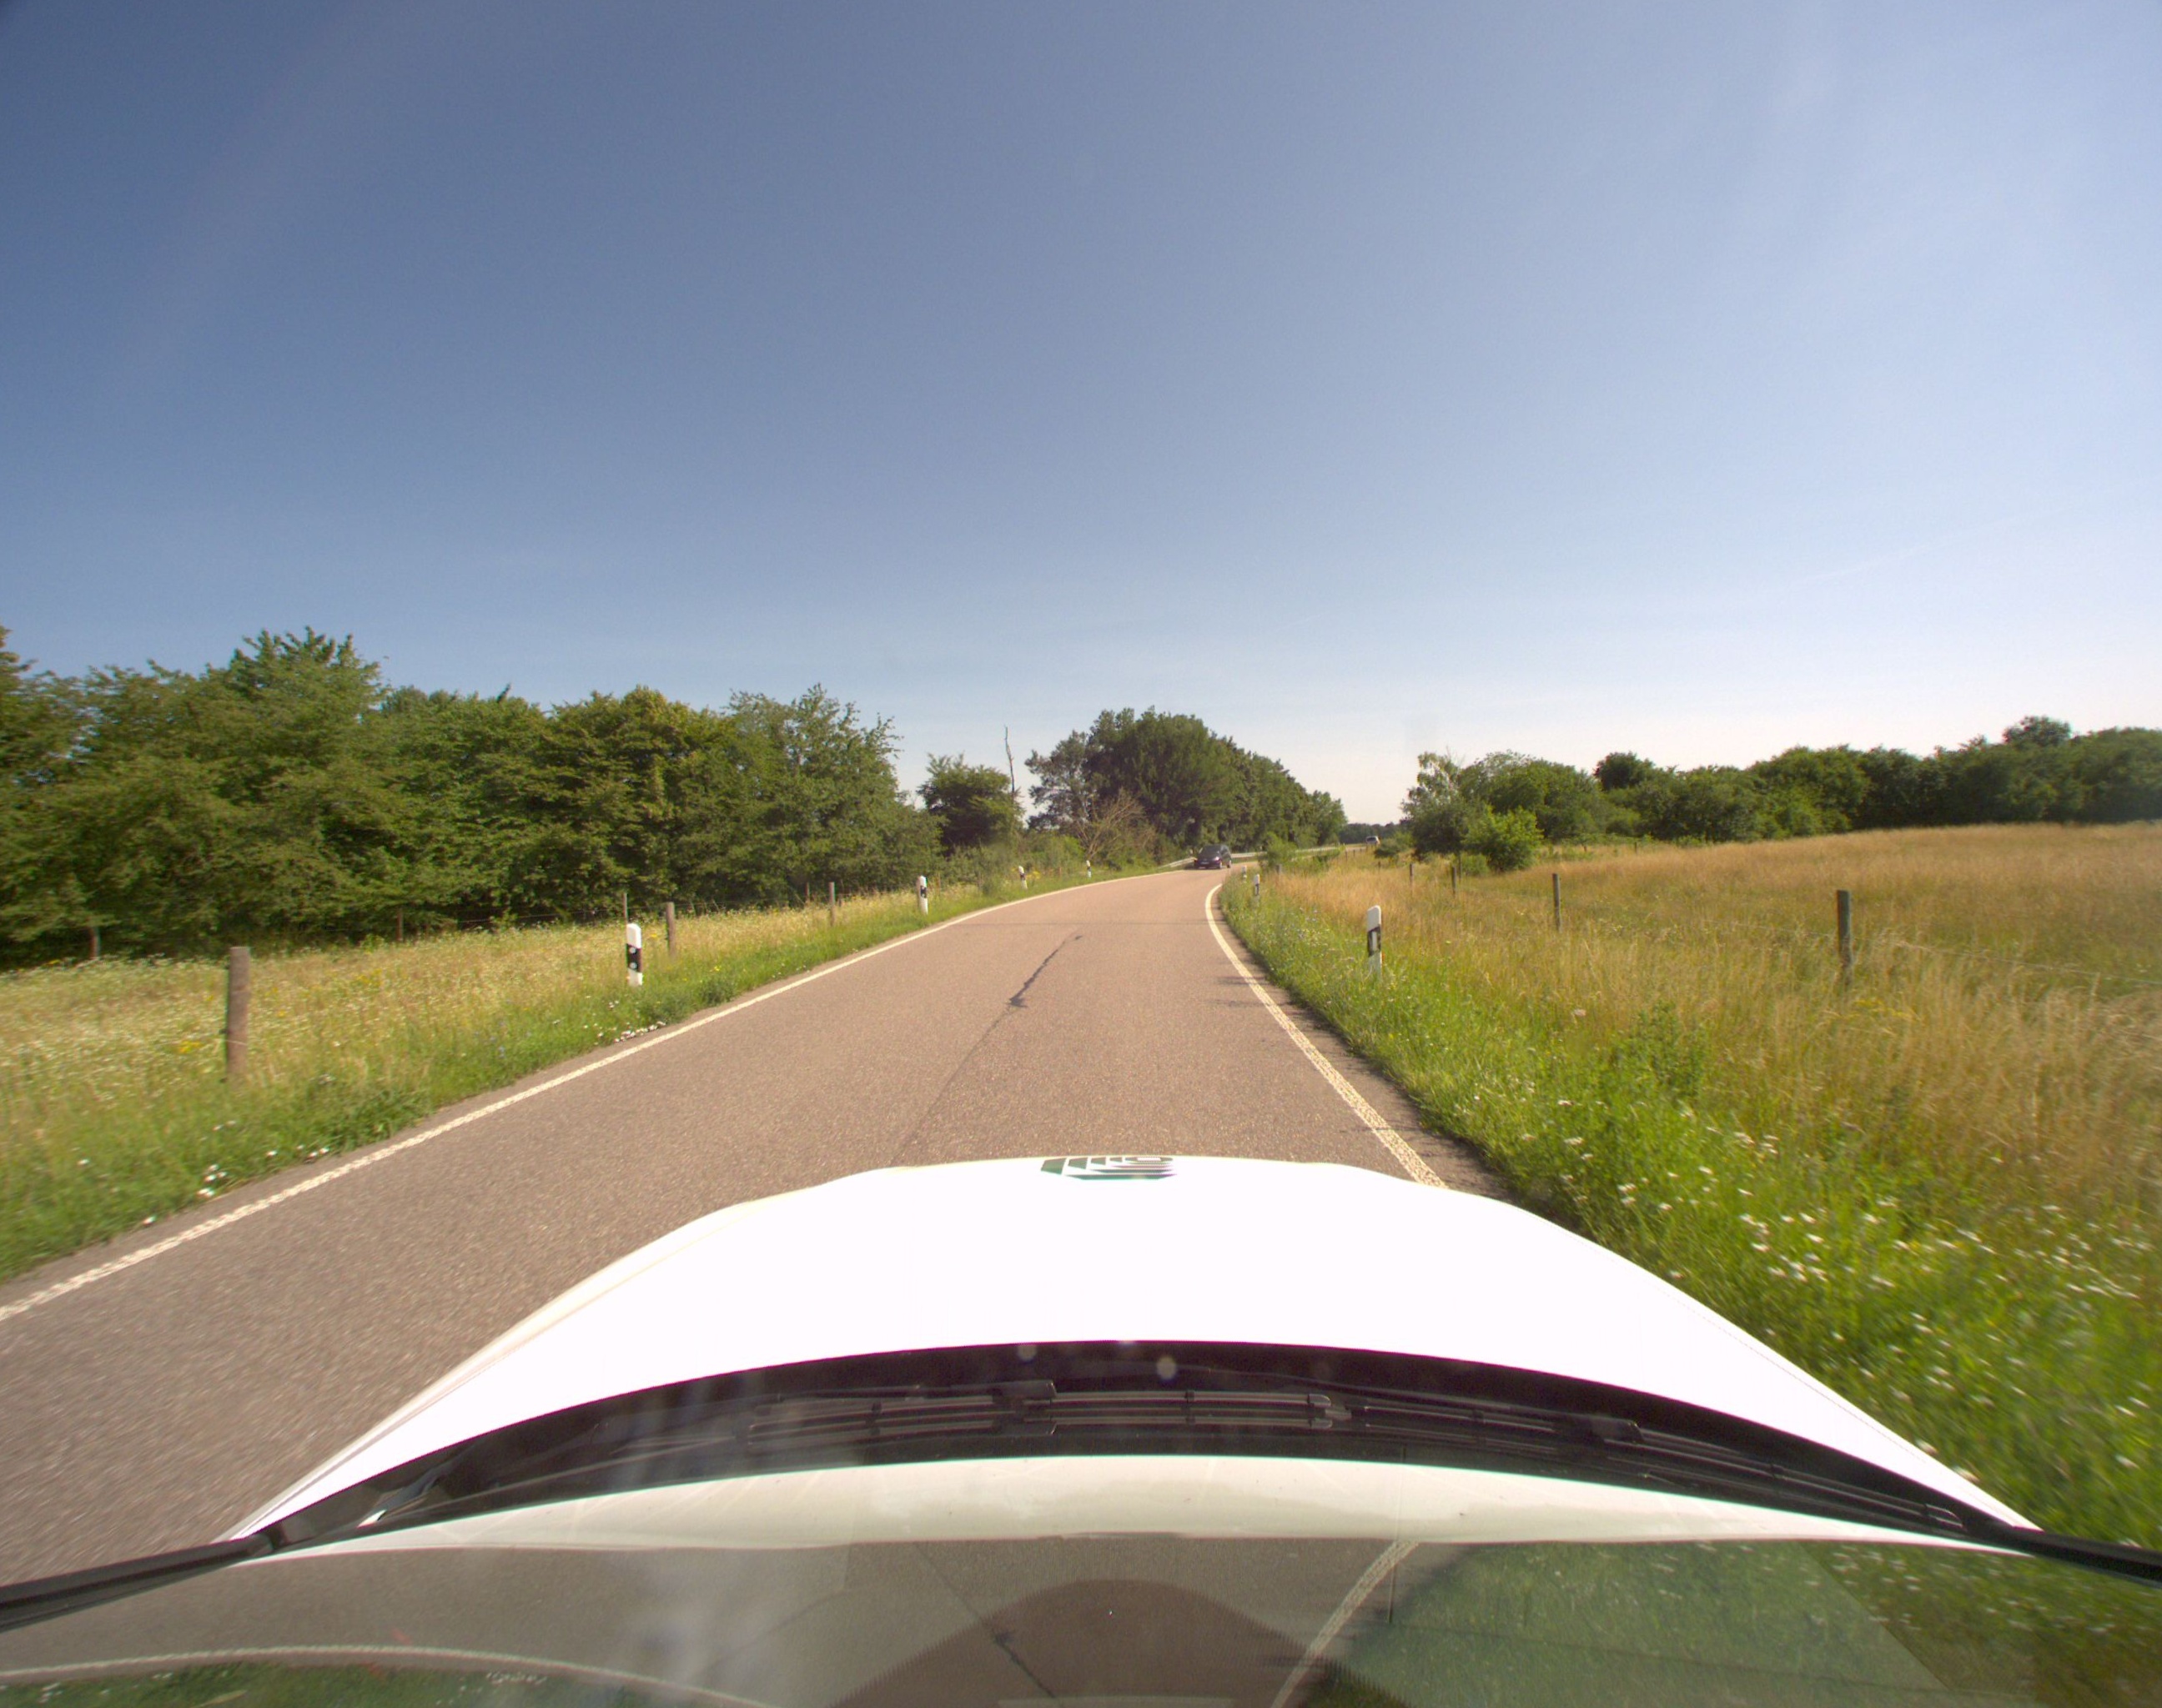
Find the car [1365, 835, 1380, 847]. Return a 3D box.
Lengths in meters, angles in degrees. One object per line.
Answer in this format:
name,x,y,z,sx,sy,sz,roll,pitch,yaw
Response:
car,47.106,-2.037,131.502,1.944,1.802,4.184,-1,-1,25

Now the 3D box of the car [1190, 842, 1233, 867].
car,8.801,0.043,54.652,1.768,1.632,4.184,-1,-1,24
